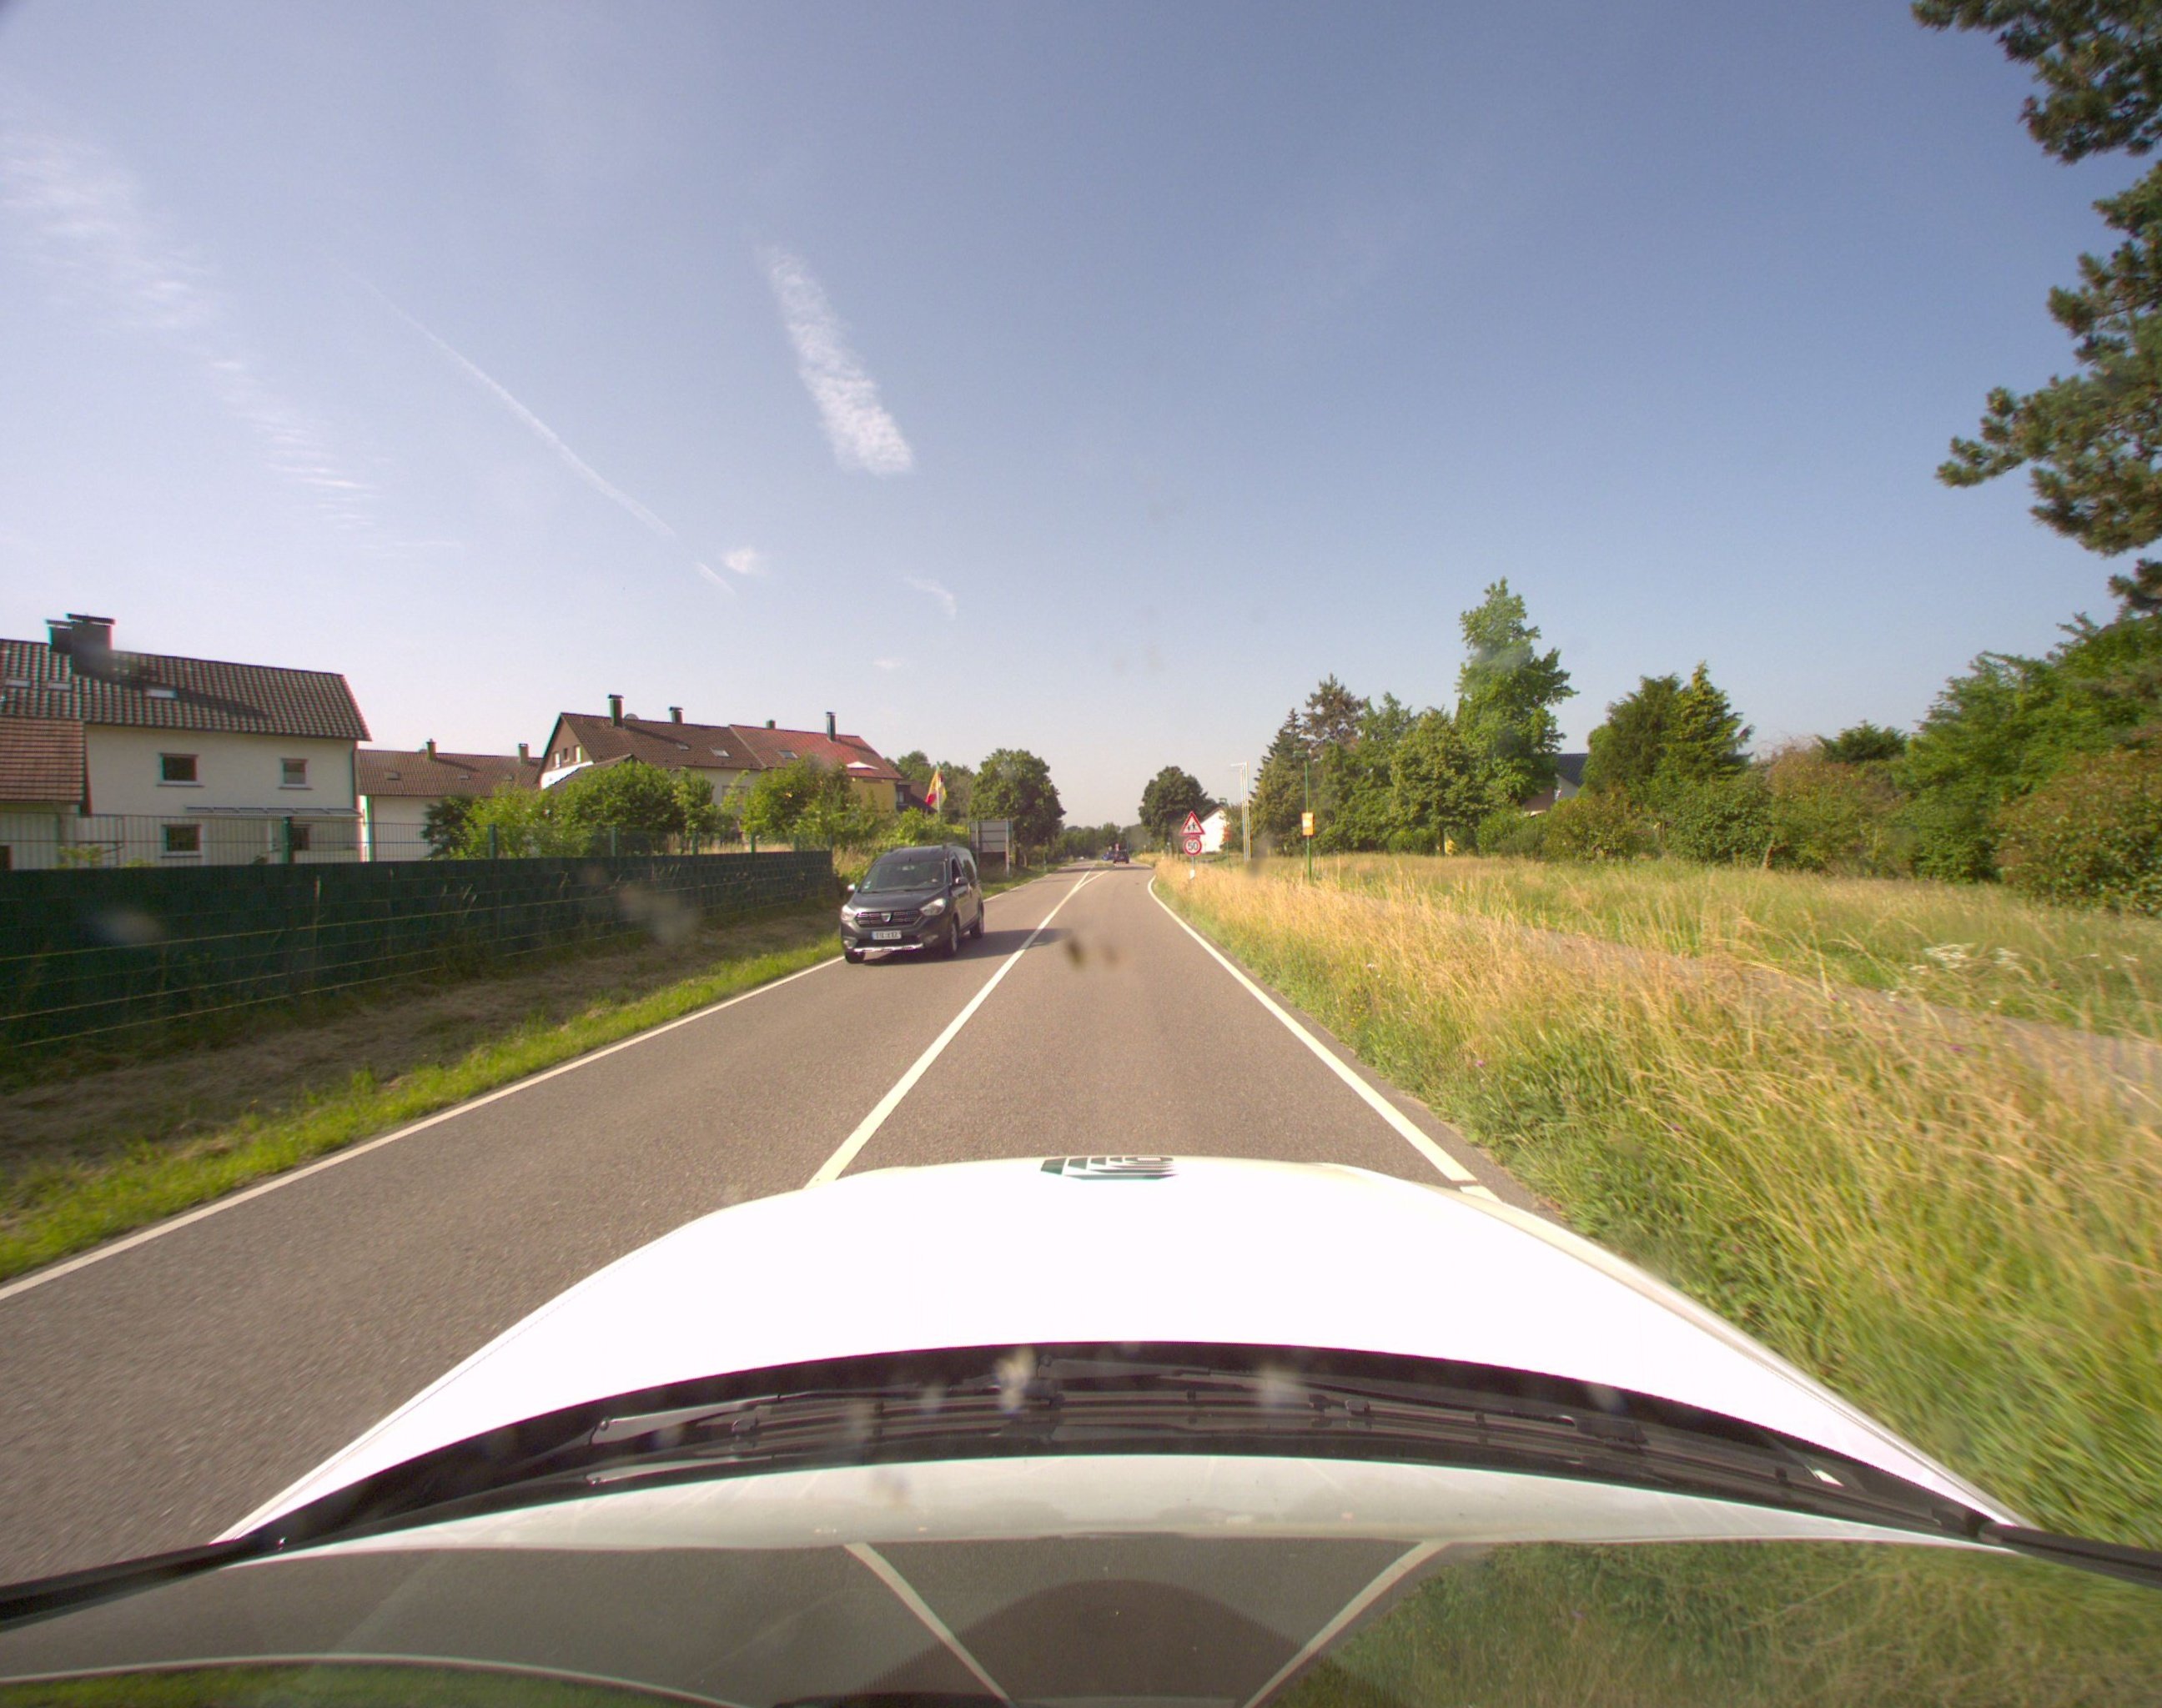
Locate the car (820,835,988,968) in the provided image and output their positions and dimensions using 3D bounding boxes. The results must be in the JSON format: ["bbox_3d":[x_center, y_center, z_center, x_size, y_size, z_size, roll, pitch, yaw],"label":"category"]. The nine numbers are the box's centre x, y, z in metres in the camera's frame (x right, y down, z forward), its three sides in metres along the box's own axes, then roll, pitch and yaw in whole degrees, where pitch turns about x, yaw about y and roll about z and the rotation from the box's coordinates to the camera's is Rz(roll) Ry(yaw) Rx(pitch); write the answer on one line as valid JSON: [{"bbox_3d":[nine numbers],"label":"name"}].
[{"bbox_3d":[-2.826,0.695,14.030,1.934,1.817,4.239,-4,0,-1],"label":"car"}]

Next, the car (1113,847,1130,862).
[{"bbox_3d":[5.218,0.067,104.320,1.919,1.771,3.999,-2,0,-1],"label":"car"}]

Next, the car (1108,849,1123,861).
[{"bbox_3d":[5.388,0.120,128.261,1.999,1.771,3.997,-2,0,-2],"label":"car"}]
